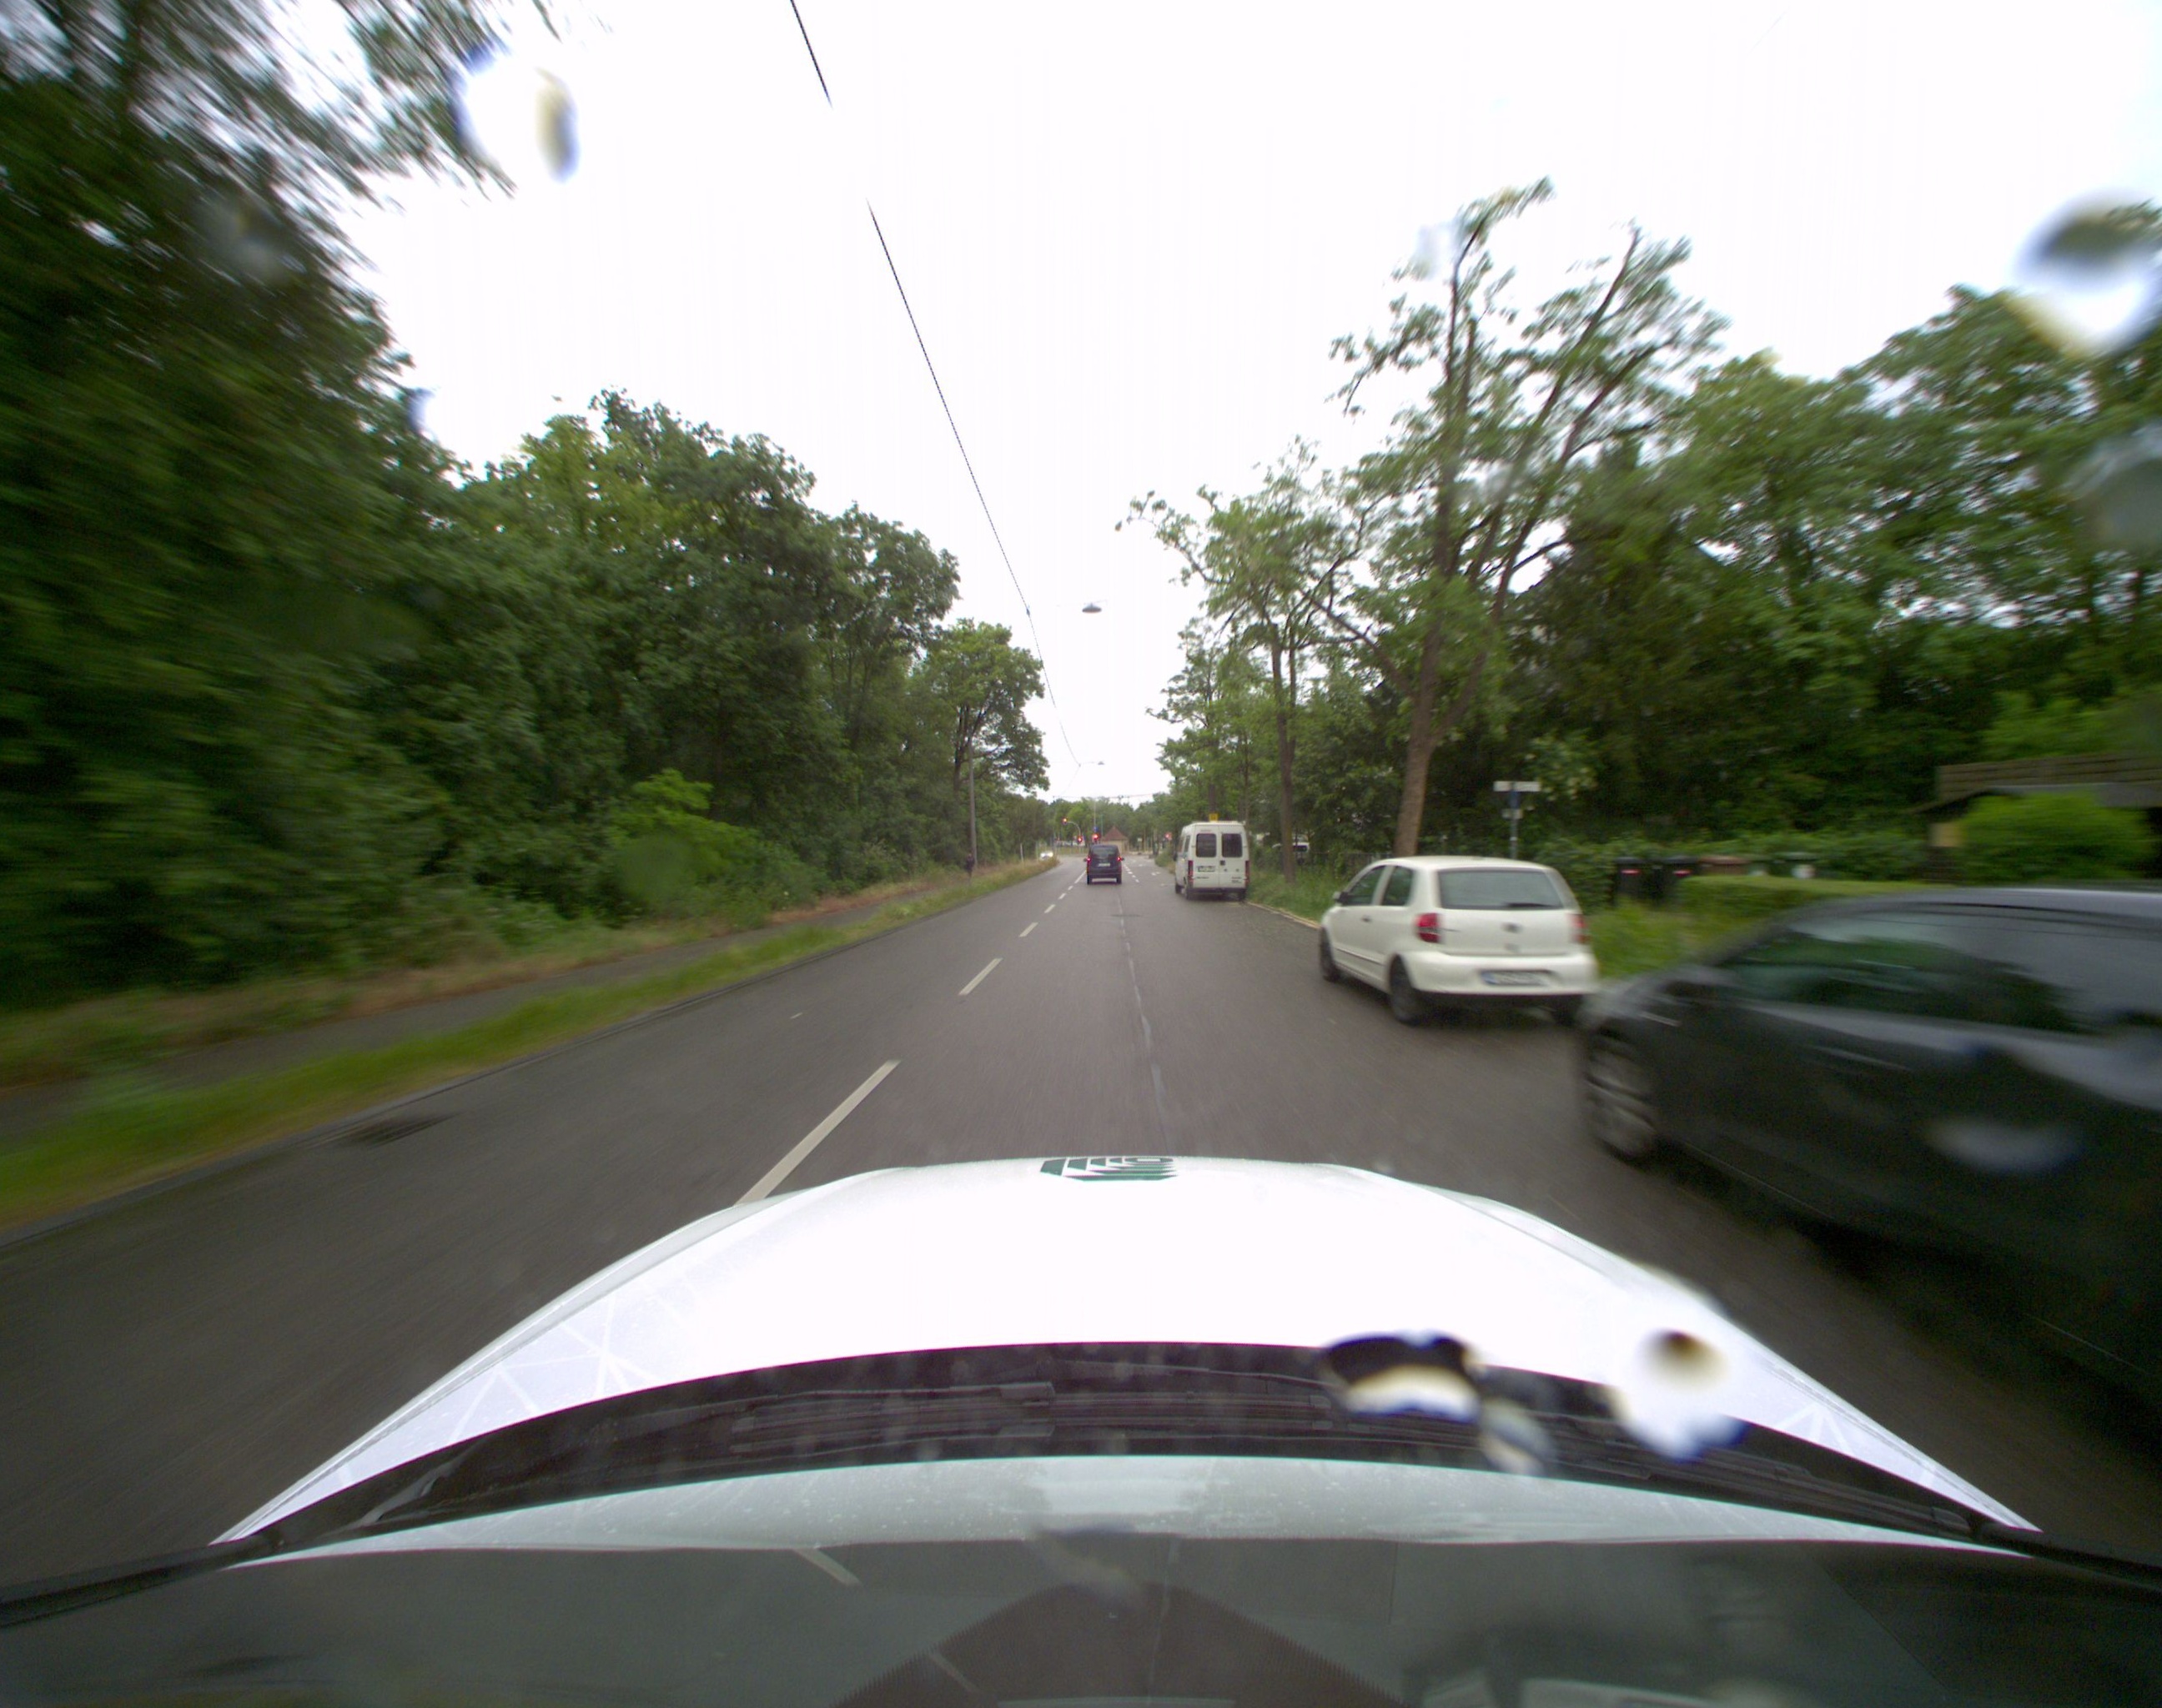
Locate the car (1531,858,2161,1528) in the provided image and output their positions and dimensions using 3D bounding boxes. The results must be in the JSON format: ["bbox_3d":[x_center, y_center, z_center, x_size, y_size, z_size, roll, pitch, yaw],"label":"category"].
[{"bbox_3d":[3.327,0.777,2.859,1.609,1.470,3.949,1,0,5],"label":"car"}]

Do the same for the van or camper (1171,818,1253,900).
[{"bbox_3d":[4.385,0.137,28.141,2.029,2.479,5.641,1,0,2],"label":"van or camper"}]

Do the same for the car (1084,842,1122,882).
[{"bbox_3d":[1.077,0.350,38.962,1.725,1.786,4.002,0,0,2],"label":"car"}]

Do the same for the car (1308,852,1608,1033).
[{"bbox_3d":[3.648,0.727,8.637,1.565,1.472,3.767,1,0,2],"label":"car"}]

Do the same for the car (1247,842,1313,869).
[{"bbox_3d":[13.497,0.070,55.416,4.275,1.817,1.881,0,0,12],"label":"car"}]

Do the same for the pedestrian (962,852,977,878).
[{"bbox_3d":[-6.991,0.672,51.027,0.778,1.607,0.732,-1,0,1],"label":"pedestrian"}]

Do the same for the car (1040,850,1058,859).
[{"bbox_3d":[-5.707,0.045,145.695,1.979,1.311,4.378,-3,1,15],"label":"car"}]
